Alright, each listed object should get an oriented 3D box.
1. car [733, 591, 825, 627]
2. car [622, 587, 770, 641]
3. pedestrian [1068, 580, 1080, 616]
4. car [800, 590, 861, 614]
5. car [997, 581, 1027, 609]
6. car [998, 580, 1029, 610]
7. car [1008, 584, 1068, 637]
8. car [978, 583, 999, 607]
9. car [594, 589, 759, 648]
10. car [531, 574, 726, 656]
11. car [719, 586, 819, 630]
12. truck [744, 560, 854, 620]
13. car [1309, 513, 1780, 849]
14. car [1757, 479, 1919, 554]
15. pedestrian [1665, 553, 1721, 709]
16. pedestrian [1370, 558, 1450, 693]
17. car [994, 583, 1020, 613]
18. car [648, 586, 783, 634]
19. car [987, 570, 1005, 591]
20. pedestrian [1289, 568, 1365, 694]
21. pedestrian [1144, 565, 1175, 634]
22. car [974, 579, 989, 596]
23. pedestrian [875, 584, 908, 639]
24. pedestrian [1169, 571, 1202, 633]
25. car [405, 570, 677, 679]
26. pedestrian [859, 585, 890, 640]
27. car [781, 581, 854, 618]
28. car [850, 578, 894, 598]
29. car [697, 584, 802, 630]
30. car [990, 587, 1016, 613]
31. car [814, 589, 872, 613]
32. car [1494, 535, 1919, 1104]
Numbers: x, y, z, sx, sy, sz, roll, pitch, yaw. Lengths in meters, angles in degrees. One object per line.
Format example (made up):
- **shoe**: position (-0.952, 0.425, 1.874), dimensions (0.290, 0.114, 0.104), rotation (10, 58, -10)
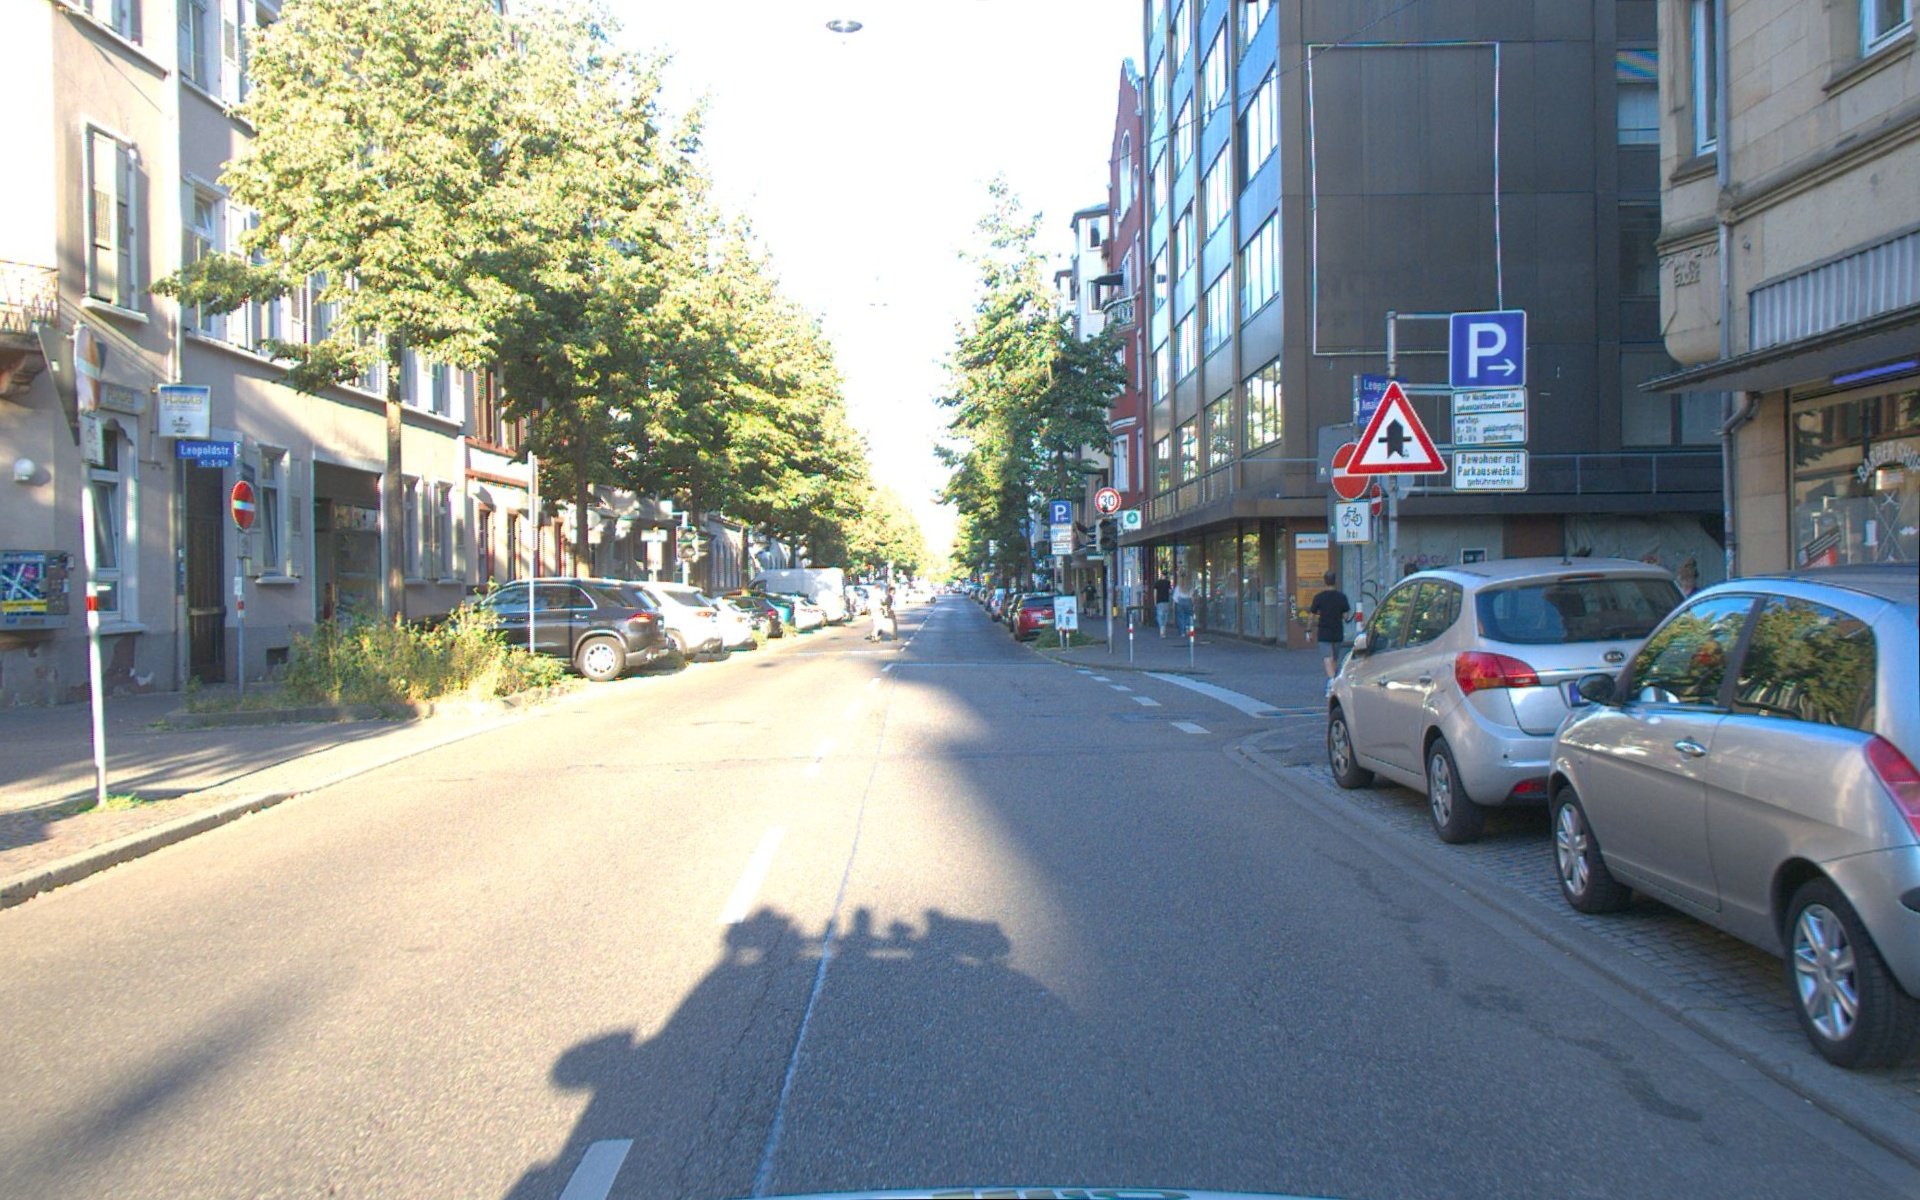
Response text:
- **car**: position (-7.593, 0.358, 69.629), dimensions (3.663, 1.475, 2.000), rotation (-1, 0, -1)
- **car**: position (-8.256, 0.423, 52.057), dimensions (4.336, 1.627, 2.000), rotation (-1, 0, -1)
- **pedestrian**: position (5.274, -0.110, 76.622), dimensions (0.523, 1.650, 0.534), rotation (0, 1, 0)
- **car**: position (-8.120, 0.100, 104.119), dimensions (3.663, 1.475, 2.000), rotation (-1, 0, -1)
- **car**: position (2.437, -0.221, 78.112), dimensions (1.182, 1.323, 2.659), rotation (0, 0, -3)
- **car**: position (2.415, -0.211, 75.141), dimensions (1.182, 1.323, 2.659), rotation (0, 0, -3)
- **car**: position (2.496, 0.333, 53.282), dimensions (1.545, 1.569, 3.395), rotation (-3, 0, -3)
- **car**: position (1.993, -0.342, 116.369), dimensions (1.283, 1.628, 2.659), rotation (0, 0, -3)
- **car**: position (-7.598, 0.488, 44.584), dimensions (4.090, 1.533, 2.000), rotation (0, 0, -1)
- **car**: position (-7.227, 0.300, 36.358), dimensions (3.908, 1.738, 1.833), rotation (0, 1, -1)
- **car**: position (-7.426, 0.322, 64.668), dimensions (3.663, 1.624, 1.999), rotation (-1, -2, -1)
- **truck**: position (-7.371, -0.468, 75.970), dimensions (4.840, 2.660, 2.000), rotation (-1, 0, -1)
- **car**: position (3.615, 0.408, 11.024), dimensions (1.662, 1.800, 4.000), rotation (-1, 1, -1)
- **car**: position (20.511, -1.909, 38.555), dimensions (3.428, 1.643, 1.613), rotation (0, 1, -23)
- **pedestrian**: position (8.102, 0.335, 18.295), dimensions (0.412, 1.695, 0.587), rotation (0, 1, 8)
- **pedestrian**: position (6.149, 0.327, 22.654), dimensions (0.739, 1.798, 1.222), rotation (0, 1, -1)
- **car**: position (2.605, -0.119, 92.500), dimensions (1.283, 1.628, 2.659), rotation (0, 0, -3)
- **car**: position (-8.389, 0.330, 56.995), dimensions (4.336, 1.529, 2.000), rotation (2, 0, -1)
- **car**: position (2.968, -1.607, 137.055), dimensions (1.283, 1.628, 2.659), rotation (0, 0, -3)
- **pedestrian**: position (5.020, 0.405, 22.702), dimensions (0.739, 1.669, 1.259), rotation (0, 1, -1)
- **pedestrian**: position (5.579, -0.009, 46.258), dimensions (0.700, 1.898, 0.679), rotation (-2, 1, -3)
- **car**: position (2.046, -1.207, 157.801), dimensions (1.283, 1.628, 2.659), rotation (0, 0, -3)
- **pedestrian**: position (-2.184, 0.364, 52.869), dimensions (0.717, 1.712, 0.746), rotation (1, 0, -40)
- **pedestrian**: position (6.331, 0.045, 46.469), dimensions (0.750, 1.718, 0.786), rotation (-2, 1, -3)
- **car**: position (-7.452, 0.432, 29.741), dimensions (4.358, 1.867, 2.033), rotation (0, -1, -1)
- **pedestrian**: position (-2.677, 0.390, 51.705), dimensions (0.710, 1.702, 0.700), rotation (0, 1, -40)
- **car**: position (-7.447, -0.013, 86.737), dimensions (3.663, 1.891, 2.000), rotation (0, 1, -1)
- **car**: position (-7.597, -1.058, 142.597), dimensions (3.663, 1.738, 2.000), rotation (0, 1, -1)
- **car**: position (-7.838, 0.260, 61.829), dimensions (3.663, 1.671, 2.000), rotation (0, 1, -1)
- **car**: position (2.206, 0.012, 85.390), dimensions (1.182, 1.323, 2.659), rotation (0, 0, -3)
- **car**: position (-7.697, 0.037, 108.821), dimensions (3.663, 1.519, 2.000), rotation (-1, 0, -1)
- **car**: position (3.552, 0.548, 6.570), dimensions (1.645, 1.588, 4.001), rotation (-2, 1, 2)
